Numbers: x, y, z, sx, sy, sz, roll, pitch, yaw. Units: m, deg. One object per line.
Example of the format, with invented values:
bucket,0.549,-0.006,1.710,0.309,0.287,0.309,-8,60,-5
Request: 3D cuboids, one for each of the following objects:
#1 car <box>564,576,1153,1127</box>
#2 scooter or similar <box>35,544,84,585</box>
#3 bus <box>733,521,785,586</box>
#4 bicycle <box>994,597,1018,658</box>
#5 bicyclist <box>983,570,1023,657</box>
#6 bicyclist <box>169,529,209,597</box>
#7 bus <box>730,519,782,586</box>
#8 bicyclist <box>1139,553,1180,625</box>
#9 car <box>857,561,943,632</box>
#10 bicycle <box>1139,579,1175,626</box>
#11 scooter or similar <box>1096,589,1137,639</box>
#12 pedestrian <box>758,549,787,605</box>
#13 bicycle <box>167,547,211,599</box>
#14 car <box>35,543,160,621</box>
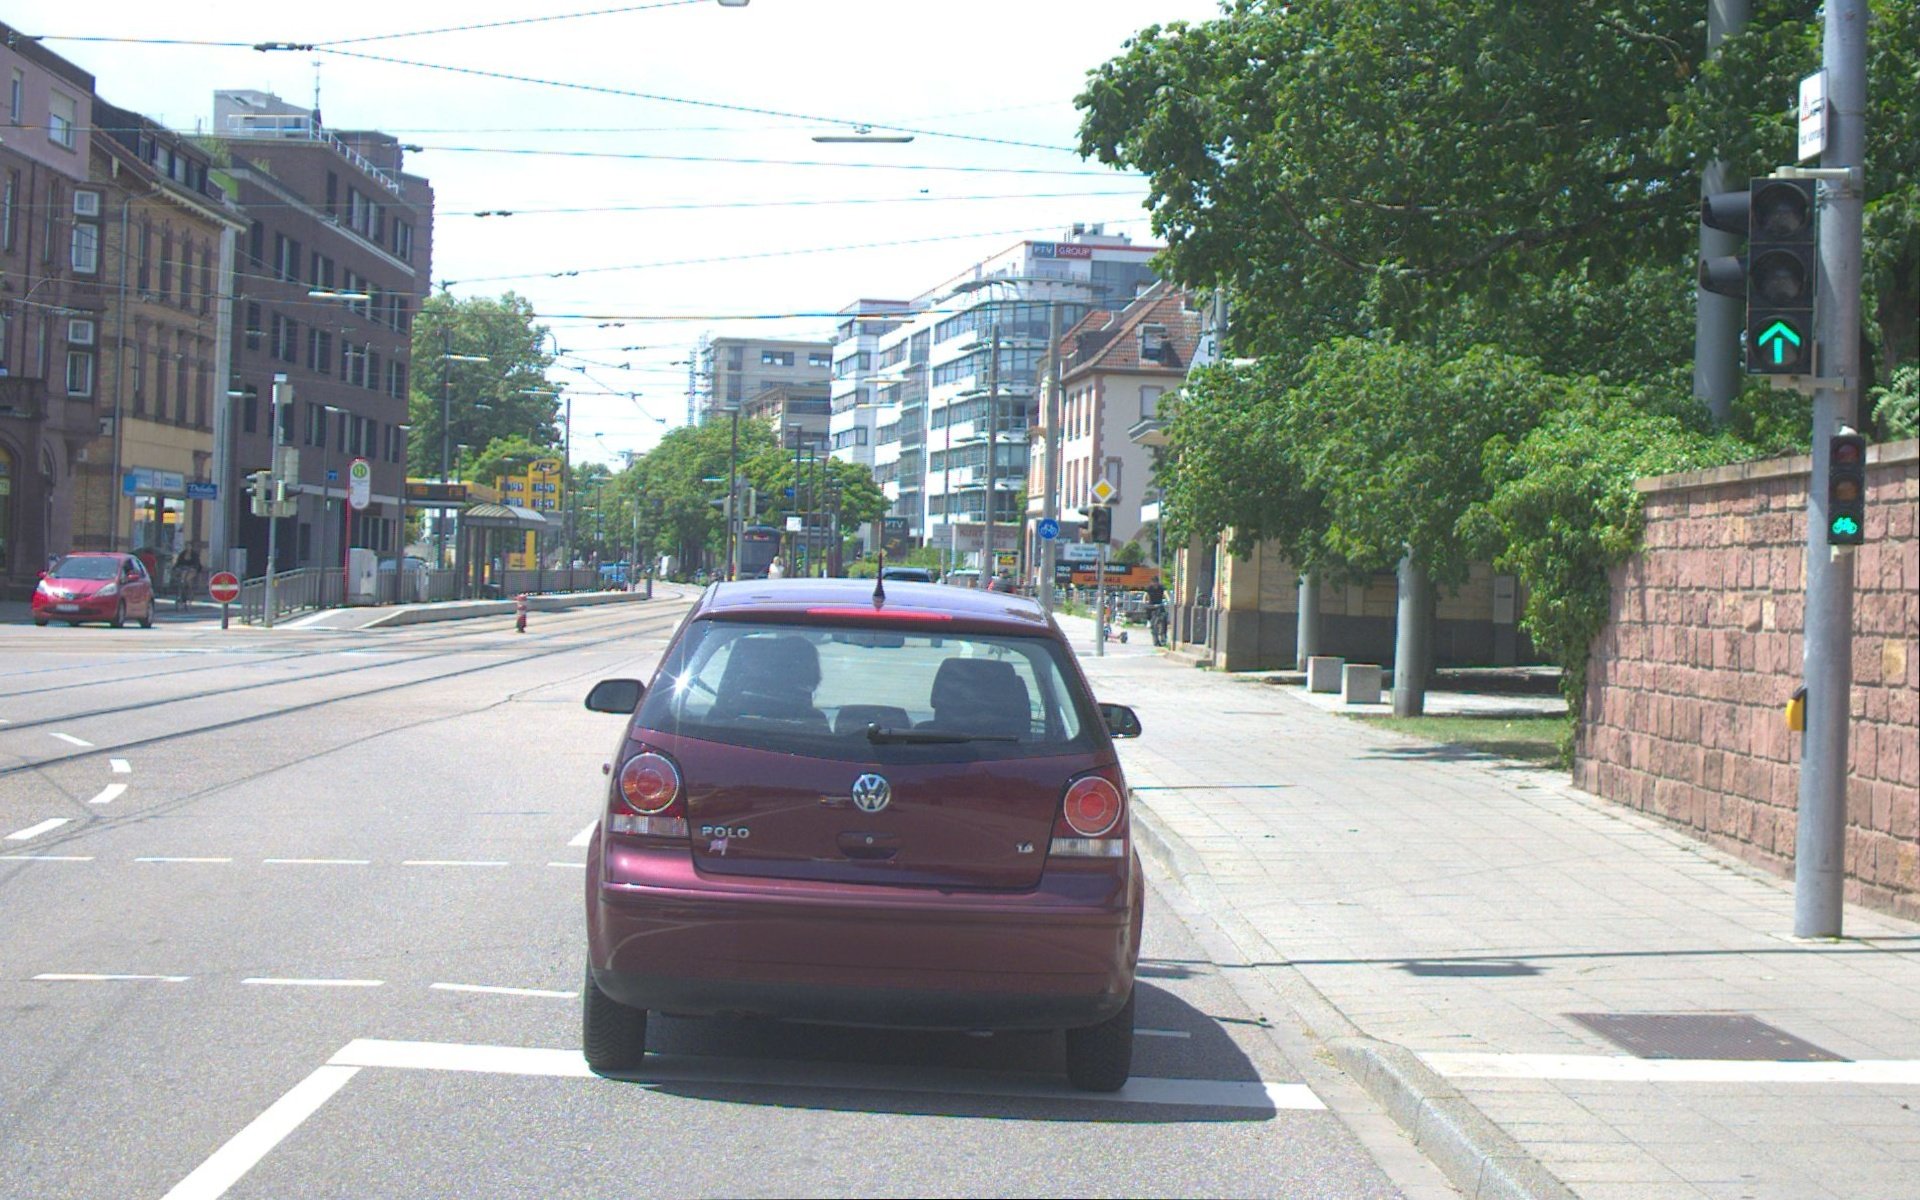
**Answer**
car,-0.314,0.679,10.924,1.561,1.448,3.062,2,0,-1
scooter or similar,-23.909,-0.943,91.332,0.488,1.078,1.575,2,1,16
bus,-9.692,-2.220,166.117,2.233,2.993,6.594,2,0,-2
bicycle,0.943,0.551,70.120,0.375,1.193,1.905,2,1,-2
bicyclist,0.879,0.272,70.331,0.727,1.754,0.924,2,1,-2
bicyclist,-20.103,-0.969,89.653,0.732,1.756,1.135,2,1,-1
bus,-9.440,-2.196,159.550,2.144,2.993,6.574,2,0,-2
bicyclist,4.551,-0.263,78.387,0.832,1.612,0.860,-1,1,0
car,-1.449,-0.106,84.742,1.993,1.619,4.632,2,0,0
bicycle,4.487,0.050,78.398,0.668,0.999,1.864,-1,1,0
scooter or similar,3.797,0.334,83.447,0.339,1.174,1.468,2,0,-24
pedestrian,-5.704,-0.703,104.631,0.763,1.669,1.100,2,0,0
bicycle,-20.094,-0.717,89.592,0.677,1.300,2.105,2,1,-1
car,-17.263,-0.367,68.956,1.624,1.479,3.829,2,0,-2
